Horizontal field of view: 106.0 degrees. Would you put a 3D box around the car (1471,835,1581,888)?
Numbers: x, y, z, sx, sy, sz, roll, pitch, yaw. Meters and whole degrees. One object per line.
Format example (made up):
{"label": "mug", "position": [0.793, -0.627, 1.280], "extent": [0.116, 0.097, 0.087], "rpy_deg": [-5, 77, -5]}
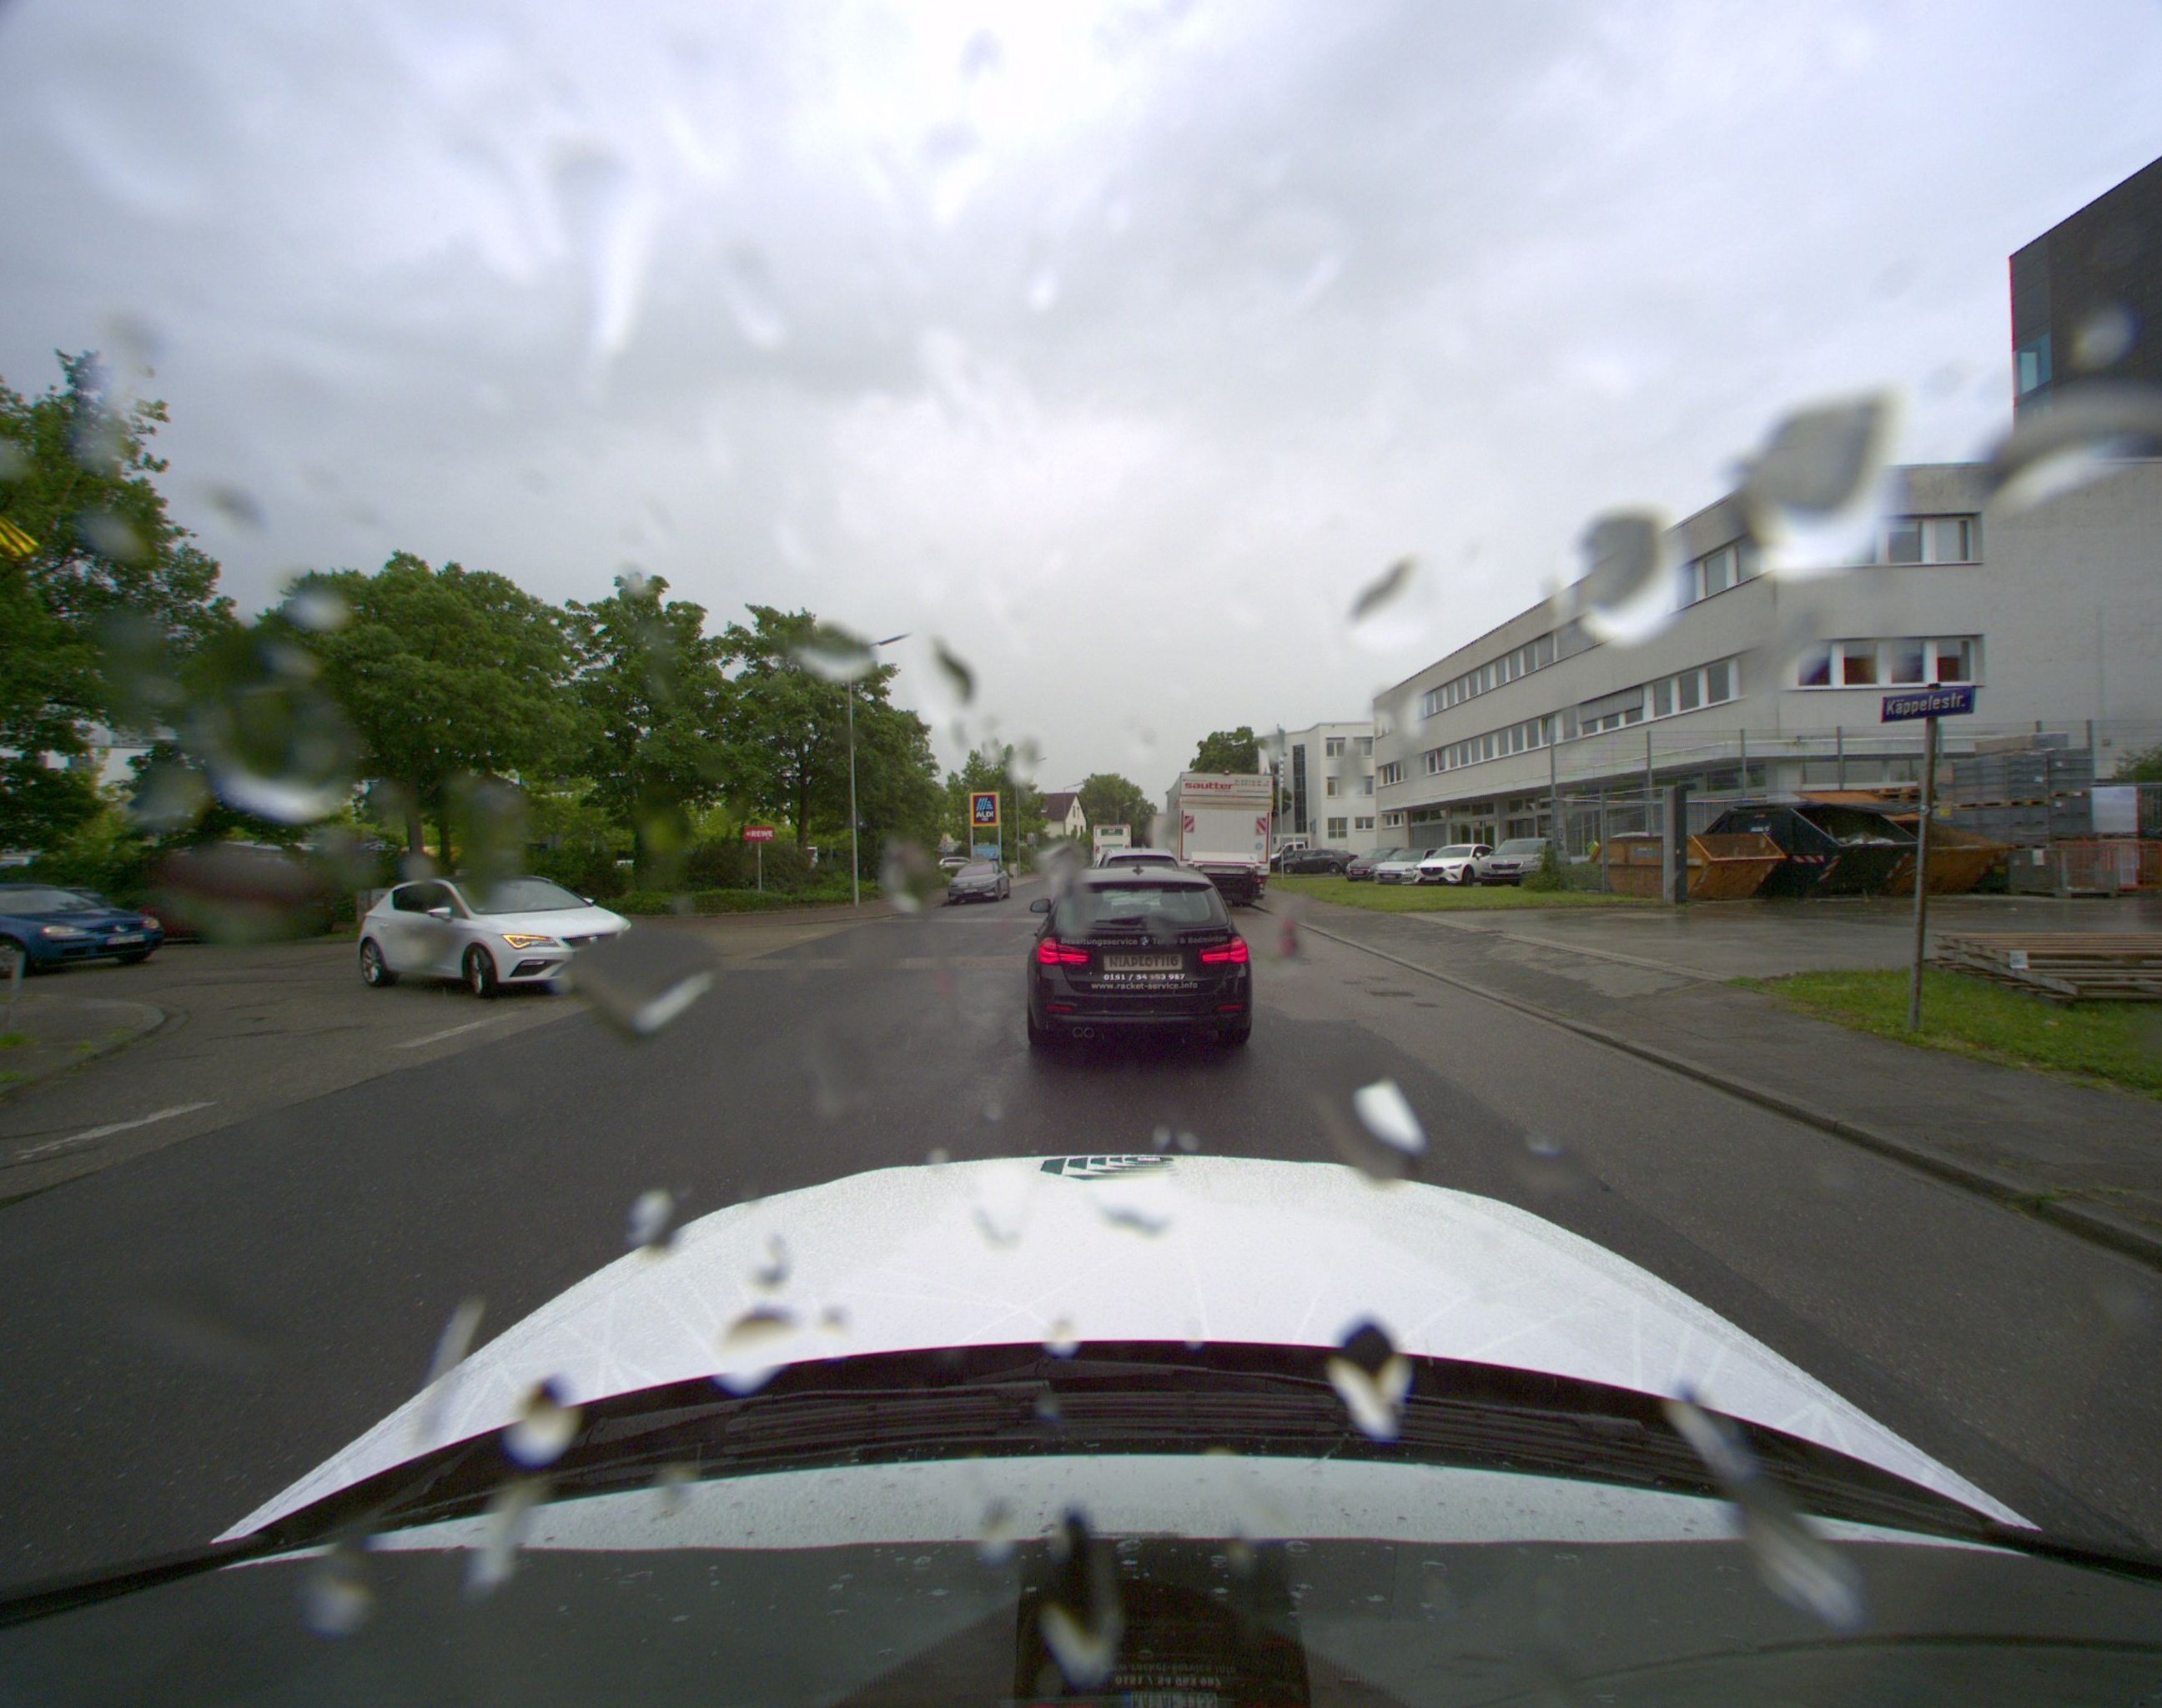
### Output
{"label": "car", "position": [14.223, 0.200, 25.928], "extent": [4.022, 1.527, 1.850], "rpy_deg": [-1, 0, -43]}

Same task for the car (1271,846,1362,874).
{"label": "car", "position": [13.306, 0.375, 46.149], "extent": [4.616, 1.468, 1.802], "rpy_deg": [-2, 0, 40]}

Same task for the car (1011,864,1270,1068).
{"label": "car", "position": [0.442, 0.805, 7.702], "extent": [1.798, 1.395, 4.000], "rpy_deg": [-1, -1, 1]}

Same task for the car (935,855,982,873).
{"label": "car", "position": [-11.513, 0.936, 76.599], "extent": [3.970, 1.540, 1.912], "rpy_deg": [-1, 0, 3]}

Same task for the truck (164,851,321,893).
{"label": "truck", "position": [-44.666, 0.910, 43.661], "extent": [1.987, 2.060, 6.134], "rpy_deg": [-2, 0, 0]}

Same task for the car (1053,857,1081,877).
{"label": "car", "position": [-1.064, 0.993, 64.781], "extent": [1.698, 1.367, 4.607], "rpy_deg": [-4, 0, 4]}

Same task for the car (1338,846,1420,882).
{"label": "car", "position": [12.652, 0.401, 34.502], "extent": [3.789, 1.393, 1.686], "rpy_deg": [-2, 0, -42]}

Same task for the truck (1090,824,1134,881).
{"label": "truck", "position": [2.047, -0.244, 50.967], "extent": [2.330, 3.256, 7.761], "rpy_deg": [1, 2, 4]}

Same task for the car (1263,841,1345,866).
{"label": "car", "position": [18.998, -0.039, 69.402], "extent": [6.437, 2.014, 1.998], "rpy_deg": [-1, -1, -2]}

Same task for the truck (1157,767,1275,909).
{"label": "truck", "position": [4.112, -0.435, 26.798], "extent": [2.730, 3.789, 9.306], "rpy_deg": [1, 0, 3]}

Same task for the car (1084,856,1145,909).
{"label": "car", "position": [1.015, 0.861, 25.951], "extent": [1.798, 1.552, 4.000], "rpy_deg": [-1, -1, 1]}

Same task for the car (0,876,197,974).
{"label": "car", "position": [-17.728, 1.187, 13.629], "extent": [3.972, 1.441, 1.737], "rpy_deg": [-2, 0, 1]}

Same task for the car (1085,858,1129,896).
{"label": "car", "position": [1.112, 0.973, 35.900], "extent": [1.798, 1.552, 4.000], "rpy_deg": [-1, -1, 1]}

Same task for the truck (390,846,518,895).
{"label": "truck", "position": [-35.846, 0.887, 46.852], "extent": [1.984, 2.601, 6.403], "rpy_deg": [-2, 0, 4]}

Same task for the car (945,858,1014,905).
{"label": "car", "position": [-3.845, 0.998, 31.641], "extent": [1.802, 1.528, 4.750], "rpy_deg": [-5, -1, 2]}

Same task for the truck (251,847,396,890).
{"label": "truck", "position": [-40.602, 0.735, 43.920], "extent": [1.987, 2.094, 6.134], "rpy_deg": [-2, 0, 0]}

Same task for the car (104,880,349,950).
{"label": "car", "position": [-20.194, 1.409, 19.365], "extent": [3.972, 1.363, 1.737], "rpy_deg": [-2, 0, 1]}

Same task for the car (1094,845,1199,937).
{"label": "car", "position": [1.169, 0.656, 16.180], "extent": [1.798, 1.586, 4.000], "rpy_deg": [-1, -1, 1]}

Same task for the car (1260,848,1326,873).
{"label": "car", "position": [13.707, 0.395, 52.750], "extent": [3.733, 1.396, 1.738], "rpy_deg": [2, 2, 42]}

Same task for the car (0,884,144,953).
{"label": "car", "position": [-25.188, 1.538, 19.278], "extent": [3.972, 1.441, 1.737], "rpy_deg": [-2, 0, 1]}

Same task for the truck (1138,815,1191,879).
{"label": "truck", "position": [5.052, -0.423, 50.339], "extent": [2.730, 3.611, 7.754], "rpy_deg": [1, 0, 2]}

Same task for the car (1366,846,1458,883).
{"label": "car", "position": [12.826, 0.386, 31.446], "extent": [4.022, 1.286, 1.686], "rpy_deg": [-2, 0, -42]}

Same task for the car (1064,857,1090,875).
{"label": "car", "position": [-0.330, 1.012, 70.696], "extent": [1.697, 1.367, 3.844], "rpy_deg": [-4, 0, 6]}

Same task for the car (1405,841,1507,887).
{"label": "car", "position": [13.050, 0.314, 28.223], "extent": [4.022, 1.470, 1.754], "rpy_deg": [-2, 0, -42]}

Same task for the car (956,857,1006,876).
{"label": "car", "position": [-7.743, 0.941, 63.094], "extent": [3.554, 1.460, 1.714], "rpy_deg": [0, 0, 4]}

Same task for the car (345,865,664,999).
{"label": "car", "position": [-7.672, 0.955, 10.818], "extent": [3.950, 1.441, 1.747], "rpy_deg": [-2, 0, 26]}

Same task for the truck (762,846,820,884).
{"label": "truck", "position": [-22.474, 0.808, 63.430], "extent": [1.986, 2.753, 6.469], "rpy_deg": [-2, 0, 1]}
